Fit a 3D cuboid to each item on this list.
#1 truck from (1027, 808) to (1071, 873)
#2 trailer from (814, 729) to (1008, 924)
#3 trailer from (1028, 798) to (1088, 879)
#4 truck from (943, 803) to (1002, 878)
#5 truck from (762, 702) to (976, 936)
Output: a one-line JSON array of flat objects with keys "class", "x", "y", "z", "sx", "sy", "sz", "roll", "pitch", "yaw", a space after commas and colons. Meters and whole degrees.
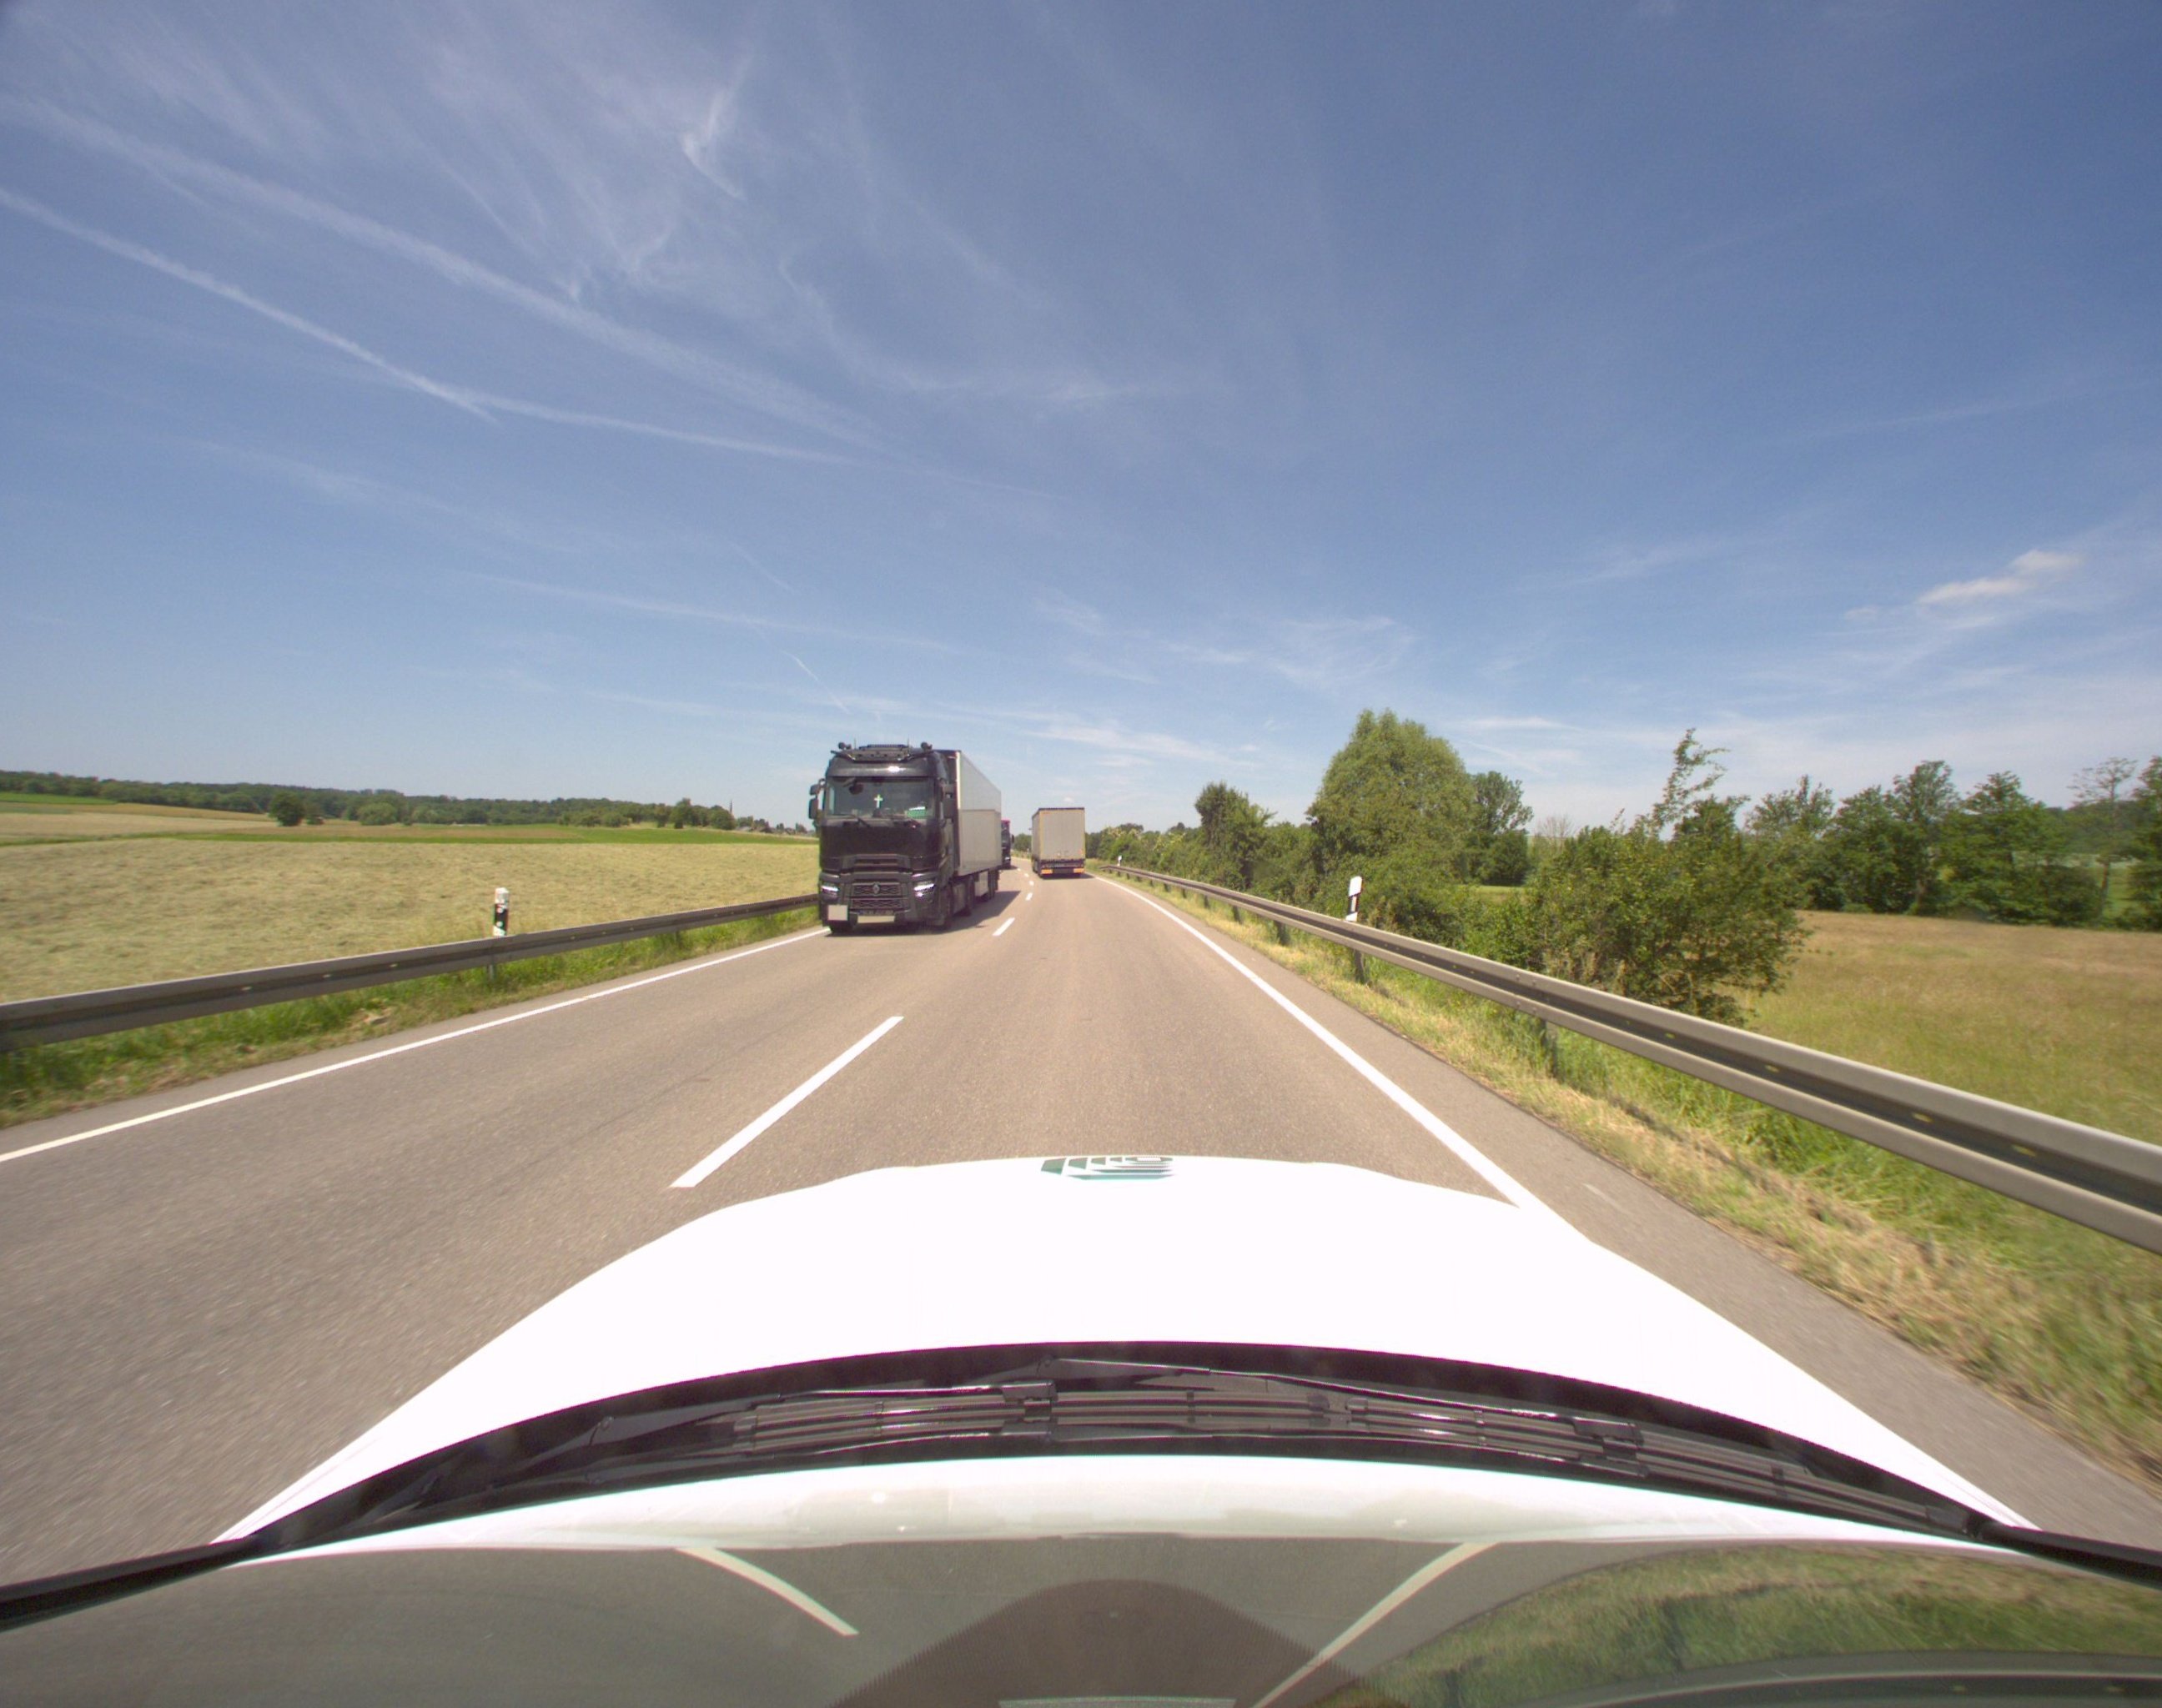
[{"class": "truck", "x": -2.359, "y": -0.941, "z": 58.685, "sx": 2.855, "sy": 4.400, "sz": 5.062, "roll": -1, "pitch": 0, "yaw": -5}, {"class": "trailer", "x": -4.519, "y": -0.634, "z": 25.556, "sx": 3.364, "sy": 4.400, "sz": 13.738, "roll": -1, "pitch": 0, "yaw": -1}, {"class": "trailer", "x": -1.702, "y": -0.891, "z": 51.575, "sx": 2.863, "sy": 4.400, "sz": 13.468, "roll": -1, "pitch": 0, "yaw": -5}, {"class": "truck", "x": -6.302, "y": -0.751, "z": 48.239, "sx": 3.237, "sy": 4.150, "sz": 6.638, "roll": 0, "pitch": 0, "yaw": -6}, {"class": "truck", "x": -4.399, "y": -0.655, "z": 18.290, "sx": 3.364, "sy": 4.401, "sz": 5.442, "roll": -1, "pitch": -1, "yaw": -1}]
